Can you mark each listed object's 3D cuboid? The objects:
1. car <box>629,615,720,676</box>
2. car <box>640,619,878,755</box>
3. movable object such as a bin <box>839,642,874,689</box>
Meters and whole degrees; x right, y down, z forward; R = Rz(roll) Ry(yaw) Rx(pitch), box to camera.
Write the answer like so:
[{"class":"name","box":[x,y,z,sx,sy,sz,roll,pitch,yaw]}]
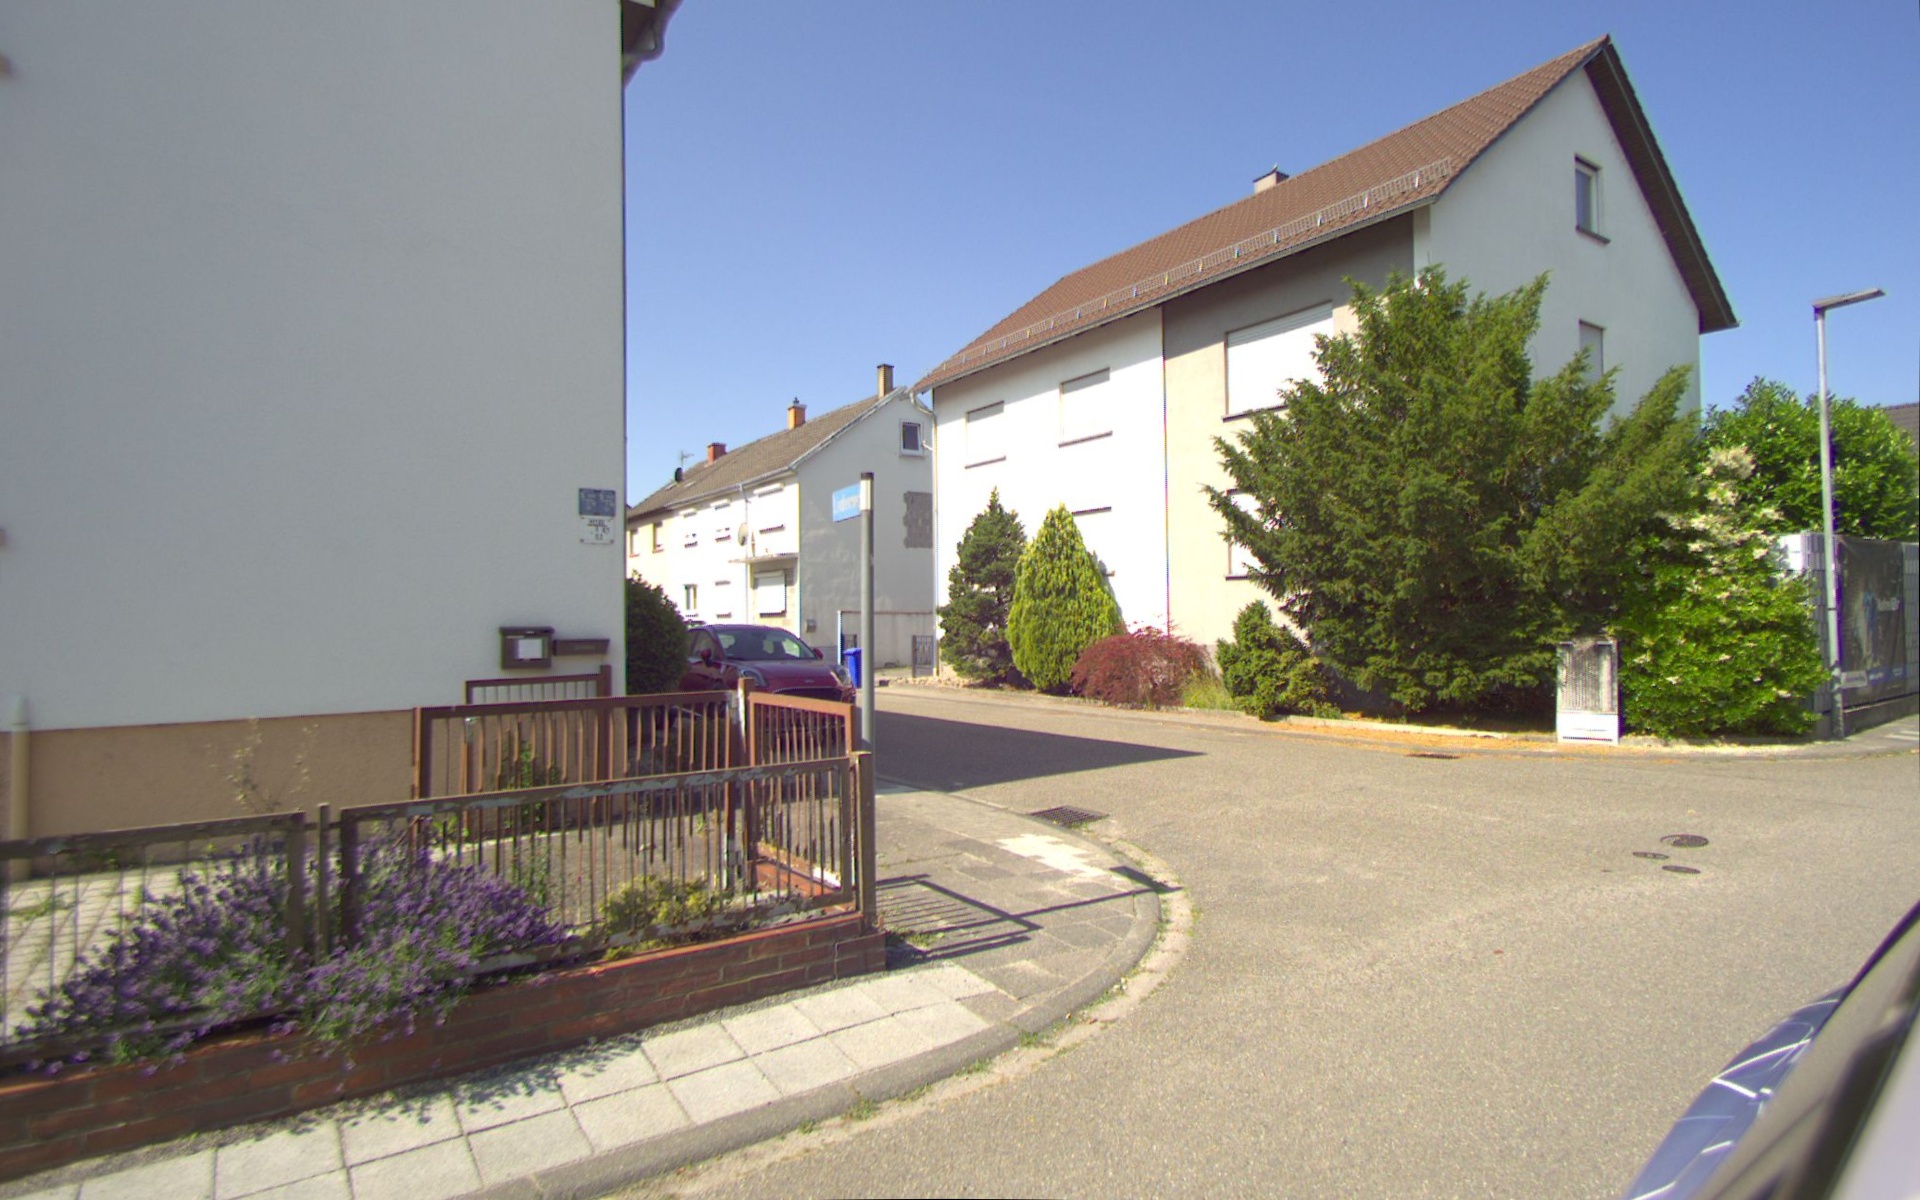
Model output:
[{"class":"car","box":[-9.641,1.515,34.006,1.762,1.861,3.999,-2,-1,-34]},{"class":"car","box":[-2.892,1.087,13.880,1.763,1.550,3.998,0,-2,-35]},{"class":"movable object such as a bin","box":[-2.406,1.516,23.496,0.592,1.043,0.596,1,-3,-34]}]
